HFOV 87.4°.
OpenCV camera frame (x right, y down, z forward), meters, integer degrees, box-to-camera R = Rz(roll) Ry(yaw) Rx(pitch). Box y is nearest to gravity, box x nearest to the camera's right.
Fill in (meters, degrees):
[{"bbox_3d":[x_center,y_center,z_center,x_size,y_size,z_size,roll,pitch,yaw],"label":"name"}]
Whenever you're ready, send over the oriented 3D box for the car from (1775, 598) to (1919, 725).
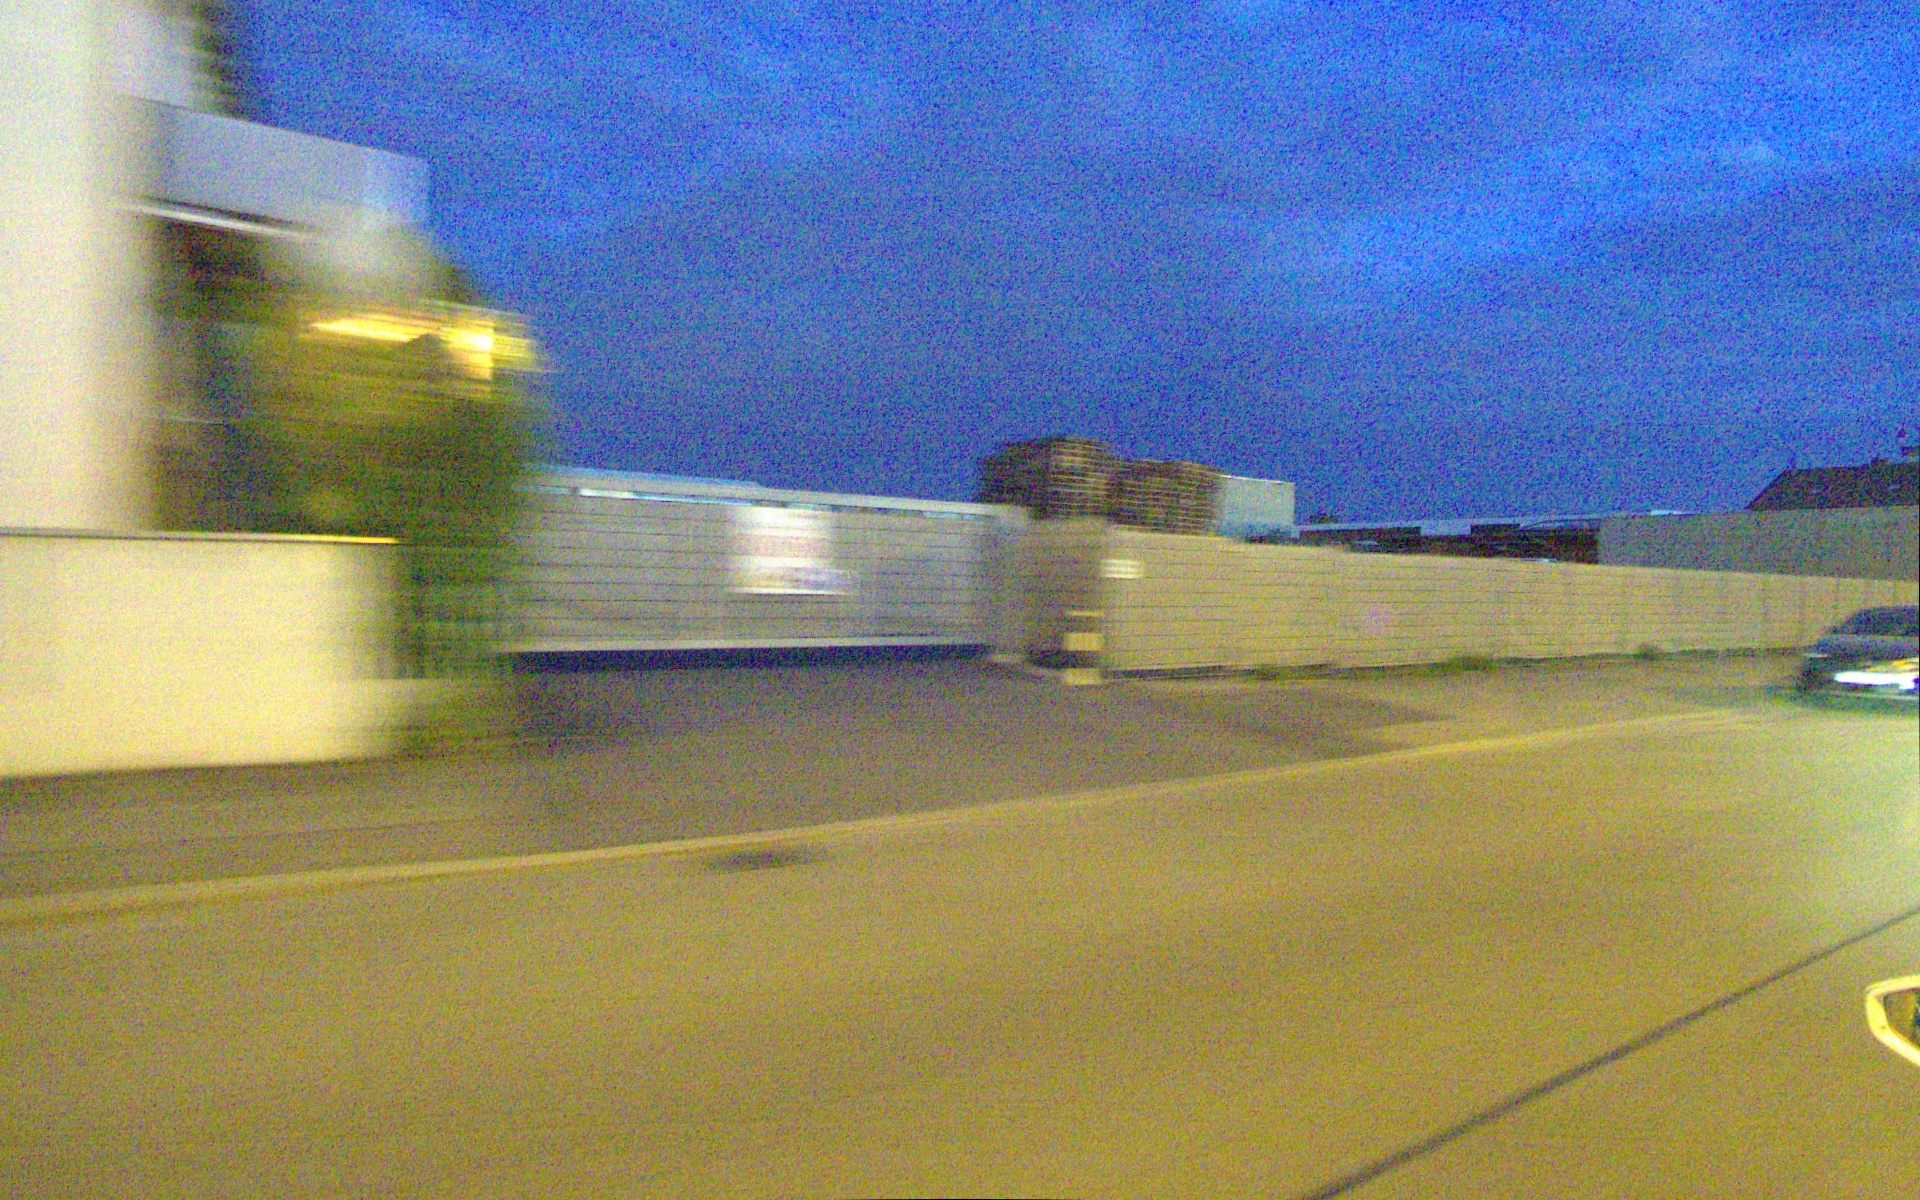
[{"bbox_3d":[14.672,0.899,15.426,4.723,1.658,1.981,2,1,-33],"label":"car"}]
